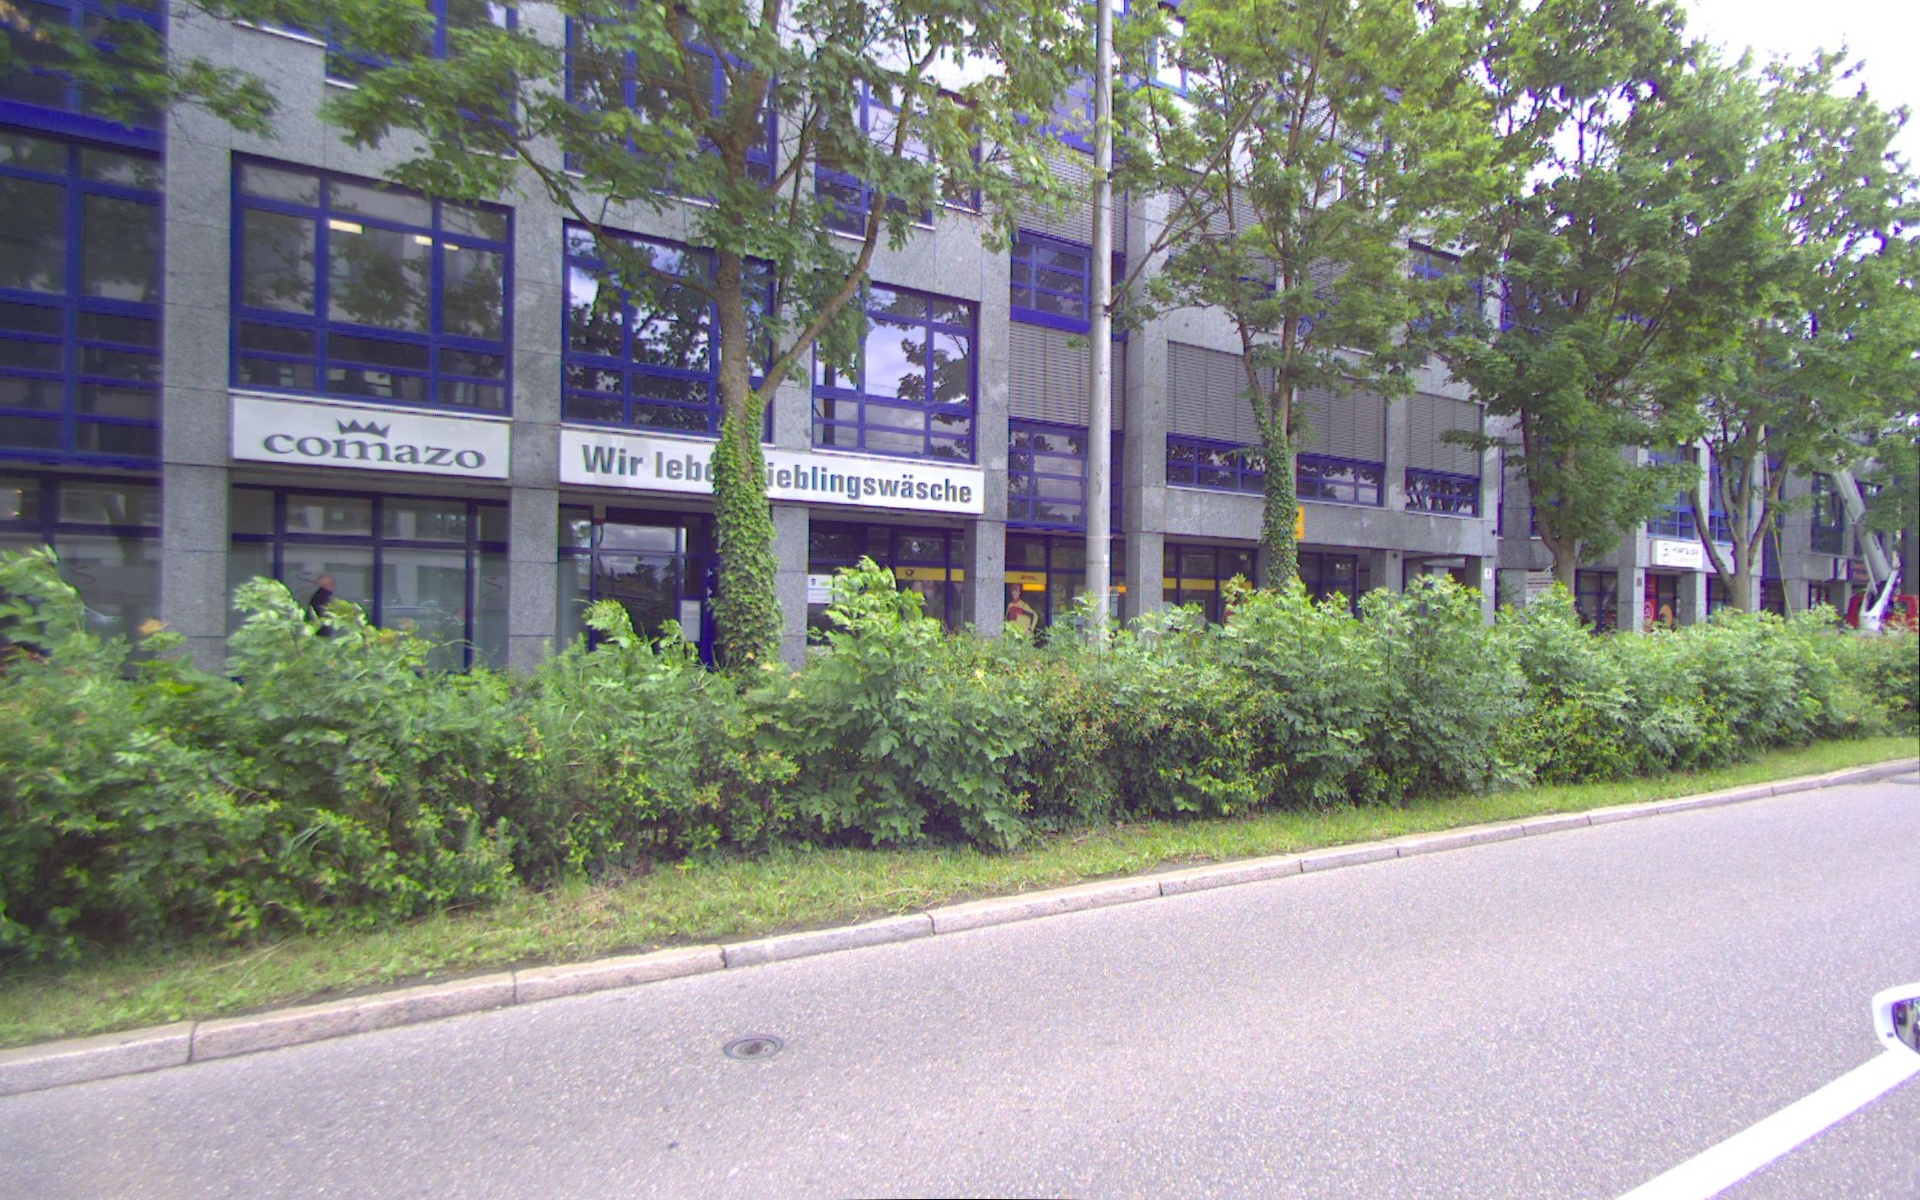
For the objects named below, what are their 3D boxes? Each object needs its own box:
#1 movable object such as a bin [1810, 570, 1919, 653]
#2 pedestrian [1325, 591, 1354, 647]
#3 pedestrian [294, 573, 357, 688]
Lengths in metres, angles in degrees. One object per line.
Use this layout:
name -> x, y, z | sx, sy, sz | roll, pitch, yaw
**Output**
movable object such as a bin -> 29.697, 0.357, 32.659 | 4.079, 2.565, 1.895 | 1, 1, -31
pedestrian -> 9.338, 0.471, 24.741 | 0.552, 1.352, 0.362 | 0, 3, -35
pedestrian -> -8.574, 0.395, 13.599 | 0.671, 1.502, 0.694 | 1, 1, -30
